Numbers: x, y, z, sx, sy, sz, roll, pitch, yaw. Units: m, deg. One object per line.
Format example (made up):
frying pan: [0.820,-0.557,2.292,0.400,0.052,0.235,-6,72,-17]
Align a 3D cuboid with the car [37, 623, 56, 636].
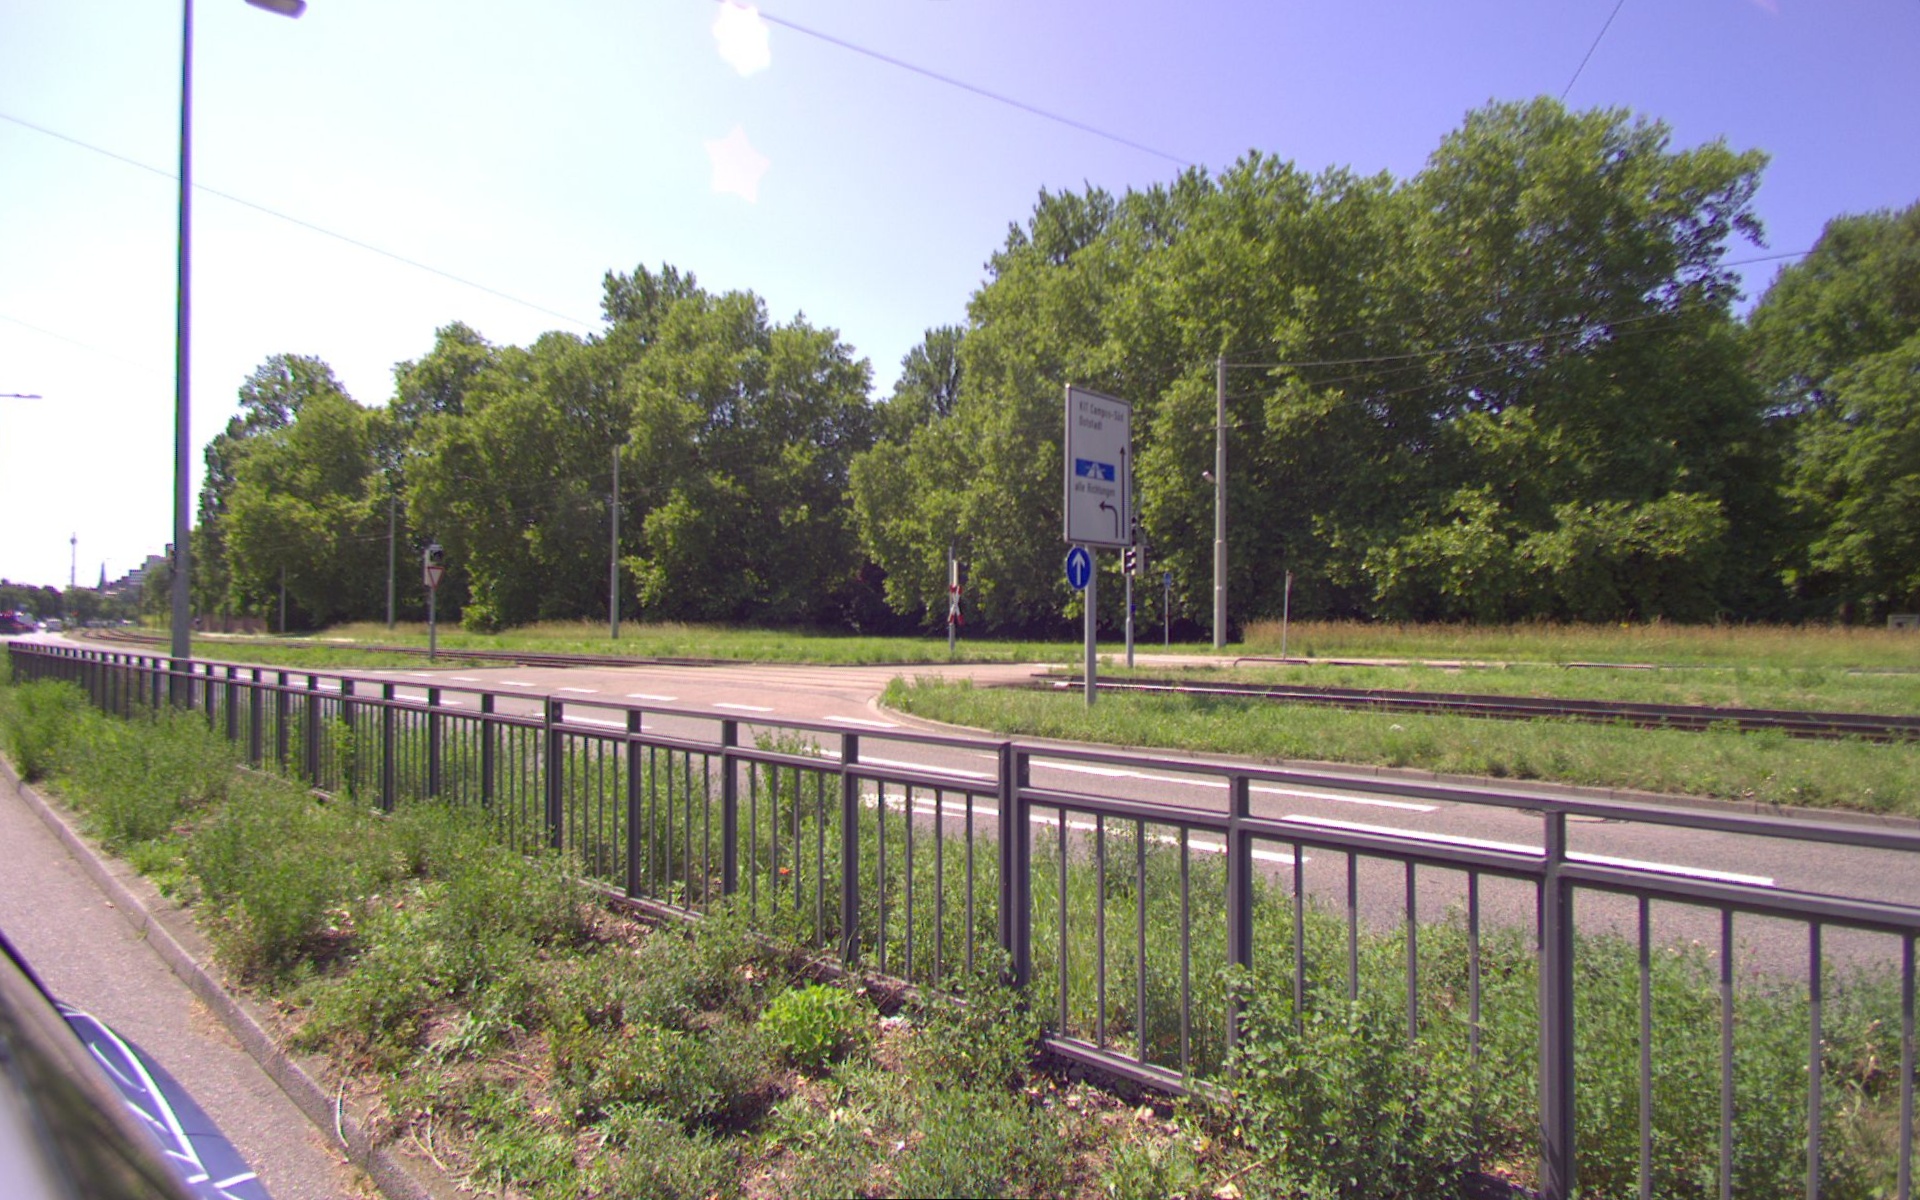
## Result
car: [-136.715,4.356,151.505,1.970,1.871,4.003,1,-2,-44]

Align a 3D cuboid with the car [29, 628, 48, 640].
car: [-141.733,5.247,155.697,1.970,1.871,4.003,1,-2,-44]

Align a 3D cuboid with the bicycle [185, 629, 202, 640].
bicycle: [-80.721,3.648,106.580,2.785,1.171,0.851,-1,-2,41]

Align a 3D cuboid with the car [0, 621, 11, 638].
car: [-107.892,3.288,113.586,1.970,1.871,4.004,1,-2,-43]

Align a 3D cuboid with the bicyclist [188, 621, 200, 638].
bicyclist: [-80.666,3.100,106.576,1.117,1.820,0.851,-1,-2,41]
